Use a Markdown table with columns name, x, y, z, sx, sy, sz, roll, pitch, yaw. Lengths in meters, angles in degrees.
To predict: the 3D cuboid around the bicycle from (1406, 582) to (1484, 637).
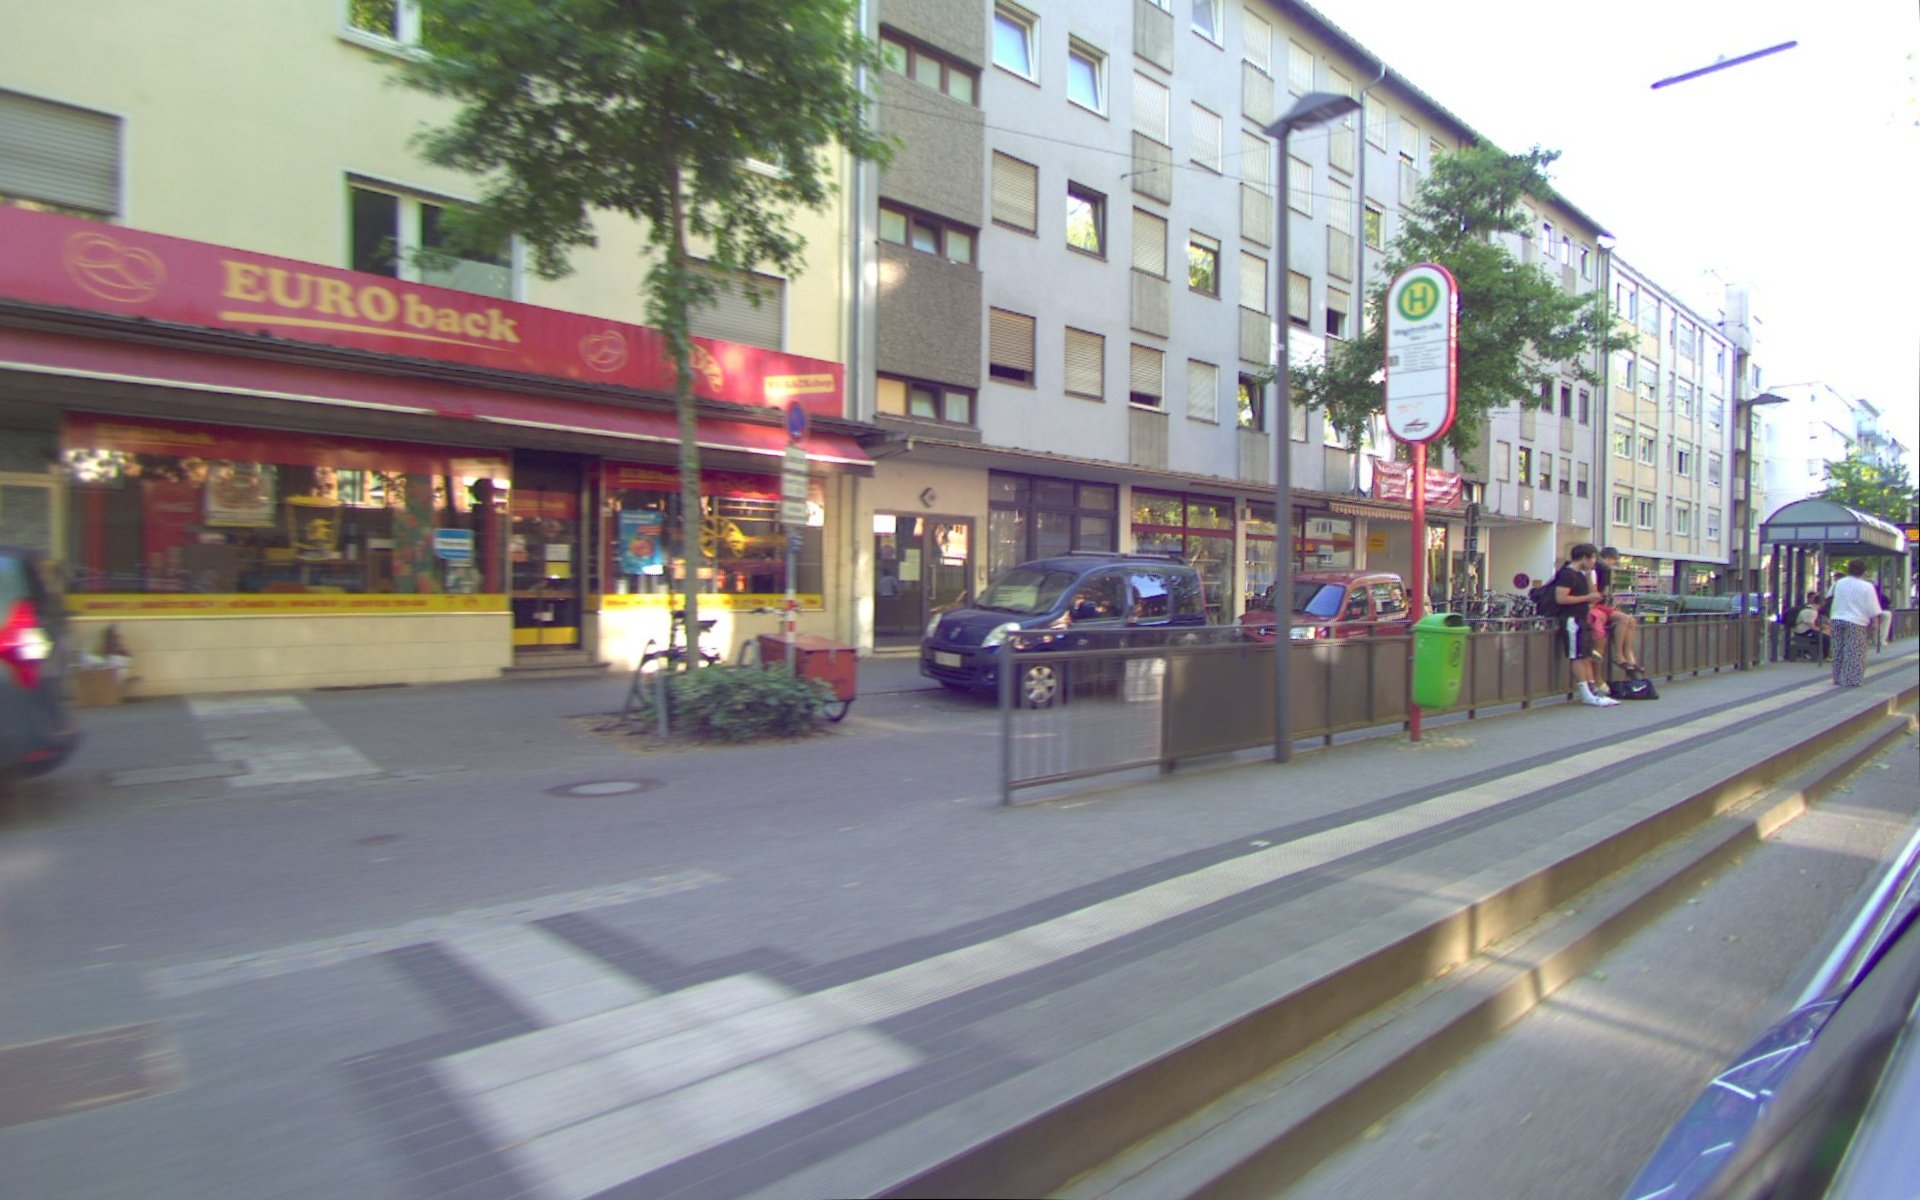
| name | x | y | z | sx | sy | sz | roll | pitch | yaw |
| --- | --- | --- | --- | --- | --- | --- | --- | --- | --- |
| bicycle | 11.649 | 0.205 | 24.250 | 0.772 | 1.194 | 2.738 | 6 | 5 | 44 |

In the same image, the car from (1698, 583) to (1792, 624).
| name | x | y | z | sx | sy | sz | roll | pitch | yaw |
| --- | --- | --- | --- | --- | --- | --- | --- | --- | --- |
| car | 31.155 | 0.117 | 40.121 | 4.576 | 1.502 | 1.957 | -1 | 0 | -39 |

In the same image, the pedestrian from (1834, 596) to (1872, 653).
| name | x | y | z | sx | sy | sz | roll | pitch | yaw |
| --- | --- | --- | --- | --- | --- | --- | --- | --- | --- |
| pedestrian | 17.169 | 0.459 | 19.472 | 0.519 | 1.069 | 0.420 | 0 | 0 | 39 |

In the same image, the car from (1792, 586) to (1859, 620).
| name | x | y | z | sx | sy | sz | roll | pitch | yaw |
| --- | --- | --- | --- | --- | --- | --- | --- | --- | --- |
| car | 43.254 | 0.119 | 50.558 | 3.931 | 1.601 | 1.997 | -1 | 1 | -41 |

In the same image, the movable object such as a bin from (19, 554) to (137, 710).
| name | x | y | z | sx | sy | sz | roll | pitch | yaw |
| --- | --- | --- | --- | --- | --- | --- | --- | --- | --- |
| movable object such as a bin | -8.346 | 0.263 | 9.575 | 0.811 | 1.367 | 0.924 | 0 | 2 | -43 |

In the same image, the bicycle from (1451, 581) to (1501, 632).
| name | x | y | z | sx | sy | sz | roll | pitch | yaw |
| --- | --- | --- | --- | --- | --- | --- | --- | --- | --- |
| bicycle | 13.687 | 0.153 | 26.803 | 0.769 | 1.194 | 2.749 | 7 | 4 | 34 |

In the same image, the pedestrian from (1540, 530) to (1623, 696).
| name | x | y | z | sx | sy | sz | roll | pitch | yaw |
| --- | --- | --- | --- | --- | --- | --- | --- | --- | --- |
| pedestrian | 6.908 | 0.137 | 11.253 | 0.687 | 1.777 | 0.571 | 0 | 0 | 43 |

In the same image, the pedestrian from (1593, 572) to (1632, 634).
| name | x | y | z | sx | sy | sz | roll | pitch | yaw |
| --- | --- | --- | --- | --- | --- | --- | --- | --- | --- |
| pedestrian | 19.478 | 0.073 | 30.221 | 0.668 | 1.827 | 0.773 | -1 | 1 | 3 |

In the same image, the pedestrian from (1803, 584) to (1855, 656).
| name | x | y | z | sx | sy | sz | roll | pitch | yaw |
| --- | --- | --- | --- | --- | --- | --- | --- | --- | --- |
| pedestrian | 16.372 | 0.367 | 19.085 | 0.717 | 1.343 | 0.486 | 0 | 0 | 39 |

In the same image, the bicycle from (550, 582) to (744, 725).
| name | x | y | z | sx | sy | sz | roll | pitch | yaw |
| --- | --- | --- | --- | --- | --- | --- | --- | --- | --- |
| bicycle | -3.085 | 0.463 | 10.246 | 0.677 | 1.224 | 2.197 | 2 | 2 | 20 |

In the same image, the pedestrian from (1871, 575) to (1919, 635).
| name | x | y | z | sx | sy | sz | roll | pitch | yaw |
| --- | --- | --- | --- | --- | --- | --- | --- | --- | --- |
| pedestrian | 25.064 | 0.129 | 27.129 | 0.836 | 1.596 | 0.650 | 0 | 0 | -23 |

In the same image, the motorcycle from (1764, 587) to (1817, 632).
| name | x | y | z | sx | sy | sz | roll | pitch | yaw |
| --- | --- | --- | --- | --- | --- | --- | --- | --- | --- |
| motorcycle | 28.166 | 0.316 | 34.317 | 2.170 | 1.473 | 1.054 | -1 | 0 | -41 |

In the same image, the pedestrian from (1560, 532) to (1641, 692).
| name | x | y | z | sx | sy | sz | roll | pitch | yaw |
| --- | --- | --- | --- | --- | --- | --- | --- | --- | --- |
| pedestrian | 7.421 | 0.128 | 11.731 | 0.689 | 1.792 | 0.495 | 0 | 0 | -26 |

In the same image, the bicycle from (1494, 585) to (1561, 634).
| name | x | y | z | sx | sy | sz | roll | pitch | yaw |
| --- | --- | --- | --- | --- | --- | --- | --- | --- | --- |
| bicycle | 15.287 | 0.259 | 27.220 | 0.772 | 1.194 | 2.738 | 8 | 5 | 44 |

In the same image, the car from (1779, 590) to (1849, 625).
| name | x | y | z | sx | sy | sz | roll | pitch | yaw |
| --- | --- | --- | --- | --- | --- | --- | --- | --- | --- |
| car | 39.300 | 0.302 | 46.537 | 3.931 | 1.505 | 1.897 | -1 | 1 | -41 |

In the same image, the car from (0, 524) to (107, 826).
| name | x | y | z | sx | sy | sz | roll | pitch | yaw |
| --- | --- | --- | --- | --- | --- | --- | --- | --- | --- |
| car | -7.105 | 0.358 | 5.012 | 4.362 | 1.641 | 1.766 | 0 | 2 | -40 |

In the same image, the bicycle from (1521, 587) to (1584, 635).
| name | x | y | z | sx | sy | sz | roll | pitch | yaw |
| --- | --- | --- | --- | --- | --- | --- | --- | --- | --- |
| bicycle | 16.506 | 0.312 | 28.170 | 0.772 | 1.194 | 2.738 | 8 | 5 | 44 |

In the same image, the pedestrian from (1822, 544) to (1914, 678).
| name | x | y | z | sx | sy | sz | roll | pitch | yaw |
| --- | --- | --- | --- | --- | --- | --- | --- | --- | --- |
| pedestrian | 12.218 | 0.137 | 13.622 | 0.628 | 1.734 | 0.835 | 0 | 0 | -40 |

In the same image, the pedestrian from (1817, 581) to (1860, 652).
| name | x | y | z | sx | sy | sz | roll | pitch | yaw |
| --- | --- | --- | --- | --- | --- | --- | --- | --- | --- |
| pedestrian | 16.795 | 0.308 | 19.350 | 0.583 | 1.321 | 0.519 | -1 | 0 | 38 |

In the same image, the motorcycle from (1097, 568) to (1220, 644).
| name | x | y | z | sx | sy | sz | roll | pitch | yaw |
| --- | --- | --- | --- | --- | --- | --- | --- | --- | --- |
| motorcycle | 3.949 | 0.115 | 19.973 | 2.605 | 1.332 | 0.954 | 1 | 5 | -43 |

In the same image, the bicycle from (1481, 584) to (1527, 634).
| name | x | y | z | sx | sy | sz | roll | pitch | yaw |
| --- | --- | --- | --- | --- | --- | --- | --- | --- | --- |
| bicycle | 14.422 | 0.209 | 26.792 | 0.768 | 1.194 | 2.751 | 7 | 4 | 32 |

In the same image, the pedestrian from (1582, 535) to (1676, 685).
| name | x | y | z | sx | sy | sz | roll | pitch | yaw |
| --- | --- | --- | --- | --- | --- | --- | --- | --- | --- |
| pedestrian | 8.015 | 0.108 | 12.129 | 0.844 | 1.722 | 0.682 | 0 | 0 | 43 |

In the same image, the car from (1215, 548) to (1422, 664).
| name | x | y | z | sx | sy | sz | roll | pitch | yaw |
| --- | --- | --- | --- | --- | --- | --- | --- | --- | --- |
| car | 6.324 | 0.066 | 17.621 | 4.103 | 1.777 | 1.690 | -1 | 0 | -43 |

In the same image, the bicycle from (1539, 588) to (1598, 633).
| name | x | y | z | sx | sy | sz | roll | pitch | yaw |
| --- | --- | --- | --- | --- | --- | --- | --- | --- | --- |
| bicycle | 17.894 | 0.310 | 29.711 | 0.772 | 1.194 | 2.738 | 8 | 5 | 44 |

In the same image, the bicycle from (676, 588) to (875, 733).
| name | x | y | z | sx | sy | sz | roll | pitch | yaw |
| --- | --- | --- | --- | --- | --- | --- | --- | --- | --- |
| bicycle | -1.935 | 0.538 | 10.334 | 1.011 | 1.224 | 2.209 | 0 | 3 | -40 |

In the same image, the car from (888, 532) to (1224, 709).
| name | x | y | z | sx | sy | sz | roll | pitch | yaw |
| --- | --- | --- | --- | --- | --- | --- | --- | --- | --- |
| car | 1.341 | 0.172 | 13.313 | 4.119 | 1.918 | 1.999 | 0 | 4 | -39 |

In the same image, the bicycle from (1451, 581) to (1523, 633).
| name | x | y | z | sx | sy | sz | roll | pitch | yaw |
| --- | --- | --- | --- | --- | --- | --- | --- | --- | --- |
| bicycle | 13.548 | 0.185 | 25.984 | 0.772 | 1.194 | 2.738 | 8 | 5 | 44 |
